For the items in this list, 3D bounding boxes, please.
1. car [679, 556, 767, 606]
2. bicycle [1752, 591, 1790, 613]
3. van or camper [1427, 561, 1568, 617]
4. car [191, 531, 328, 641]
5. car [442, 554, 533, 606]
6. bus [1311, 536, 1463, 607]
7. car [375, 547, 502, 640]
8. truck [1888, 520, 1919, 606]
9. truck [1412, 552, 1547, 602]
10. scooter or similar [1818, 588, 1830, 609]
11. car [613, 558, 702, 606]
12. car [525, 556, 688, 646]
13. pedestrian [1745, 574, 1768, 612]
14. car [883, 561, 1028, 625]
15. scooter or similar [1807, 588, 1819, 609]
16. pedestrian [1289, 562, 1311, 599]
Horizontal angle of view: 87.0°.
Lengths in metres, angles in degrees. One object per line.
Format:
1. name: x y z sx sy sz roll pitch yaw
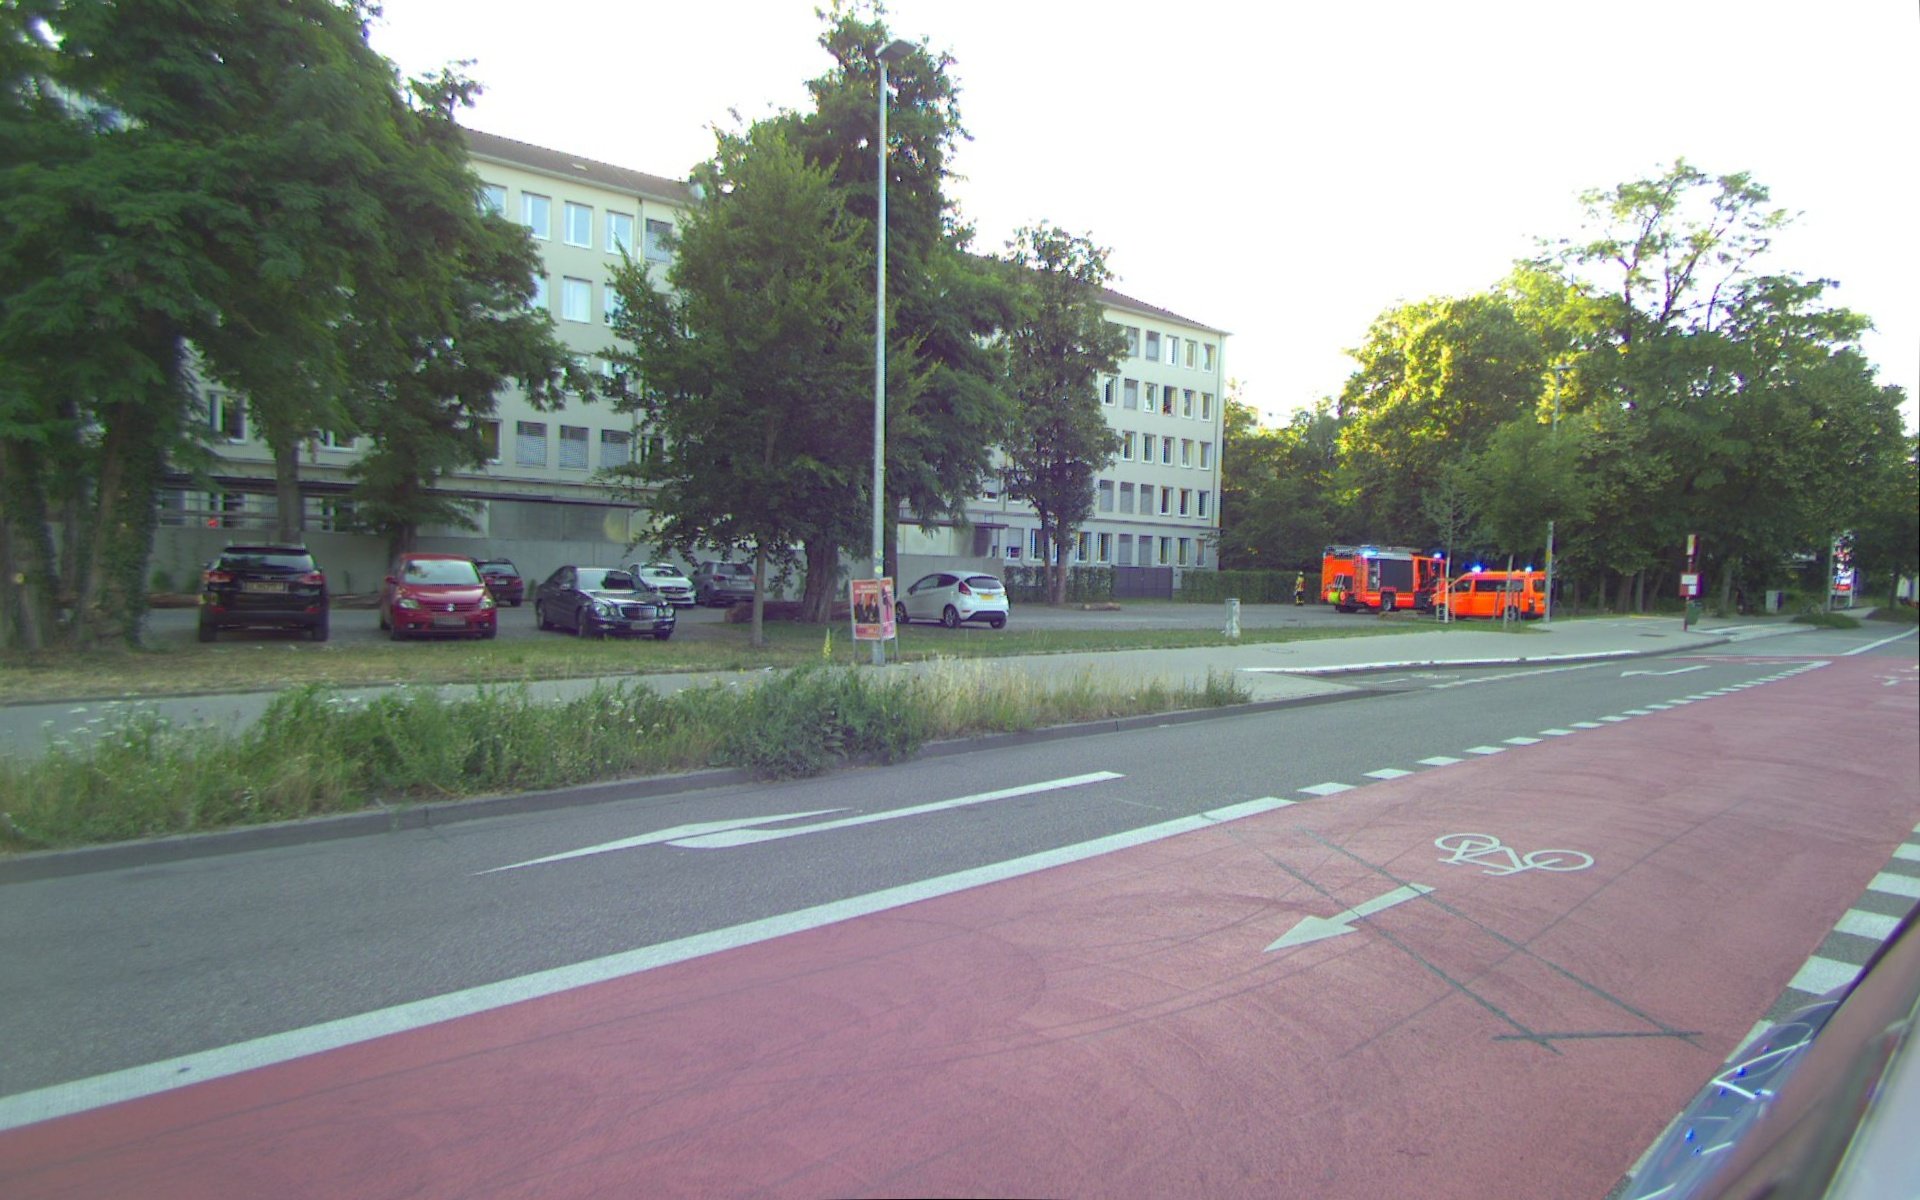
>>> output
1. car: -8.350 -0.688 35.426 1.875 1.636 4.004 -1 2 -32
2. bicycle: 44.361 0.090 55.379 0.821 1.111 1.960 2 2 15
3. van or camper: 22.959 -0.509 43.422 2.251 2.272 4.830 0 1 -35
4. car: -12.394 -0.278 17.894 1.802 1.715 3.910 0 1 -36
5. car: -14.459 -0.627 30.874 1.866 1.460 4.001 0 2 -35
6. bus: 20.975 -1.345 49.549 7.810 3.236 2.999 0 1 -34
7. car: -10.150 -0.192 19.552 1.751 1.580 4.003 0 2 -34
8. truck: 70.464 -2.200 65.024 14.965 5.642 5.104 3 2 31
9. truck: 36.663 -1.720 71.864 2.703 3.250 8.683 1 2 -24
10. scooter or similar: 54.818 -0.080 64.209 0.482 1.297 1.123 5 3 41
11. car: -10.139 -0.623 33.730 1.798 1.494 4.002 0 1 -33
12. car: -7.442 -0.083 21.013 1.866 1.465 4.584 -2 6 -37
13. pedestrian: 43.653 -0.388 55.444 0.716 2.038 0.691 2 2 18
14. car: -0.203 -0.230 27.056 1.876 1.556 3.999 0 2 -37
15. scooter or similar: 53.235 -0.094 63.126 0.482 1.297 1.213 5 3 40
16. pedestrian: 18.685 -1.066 55.597 0.810 2.038 0.774 1 2 -32
